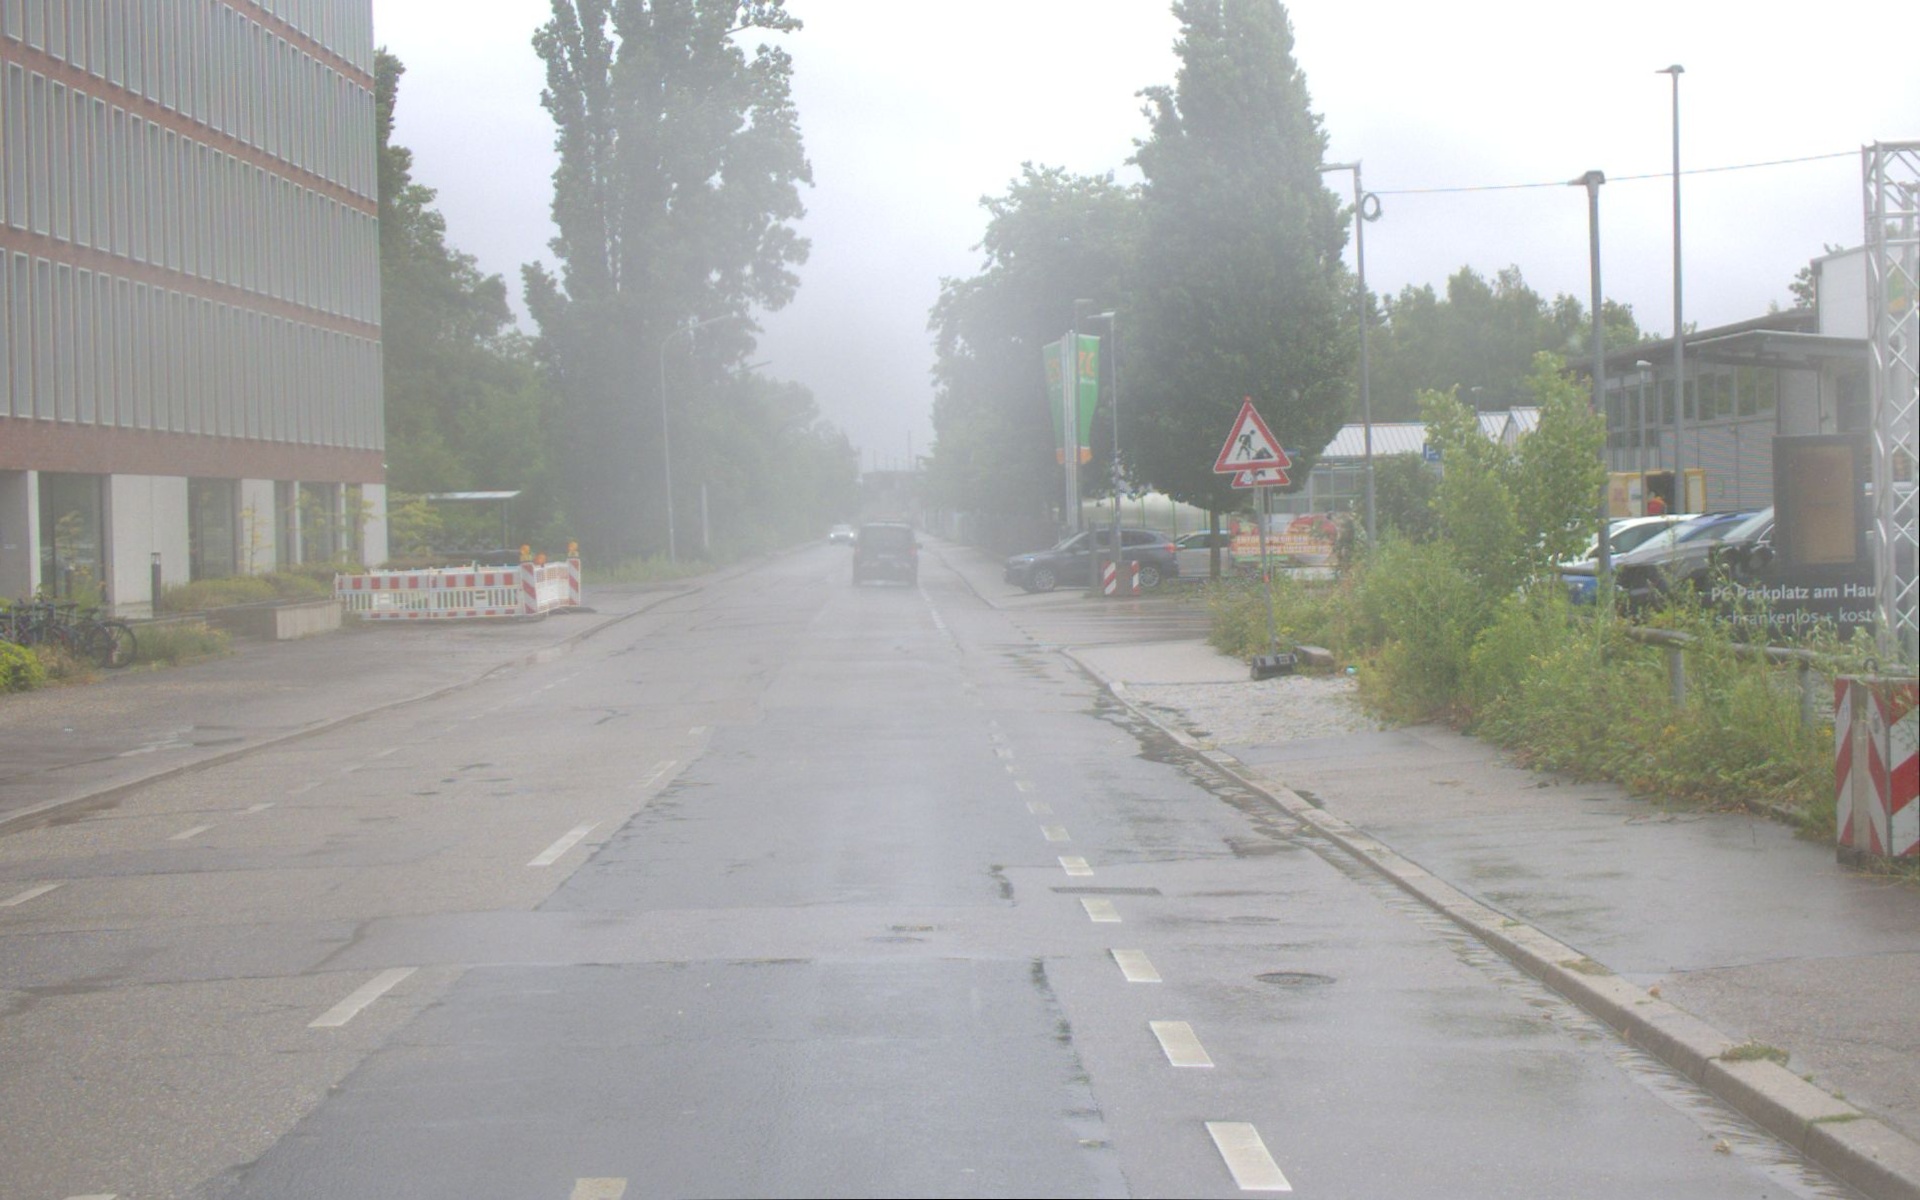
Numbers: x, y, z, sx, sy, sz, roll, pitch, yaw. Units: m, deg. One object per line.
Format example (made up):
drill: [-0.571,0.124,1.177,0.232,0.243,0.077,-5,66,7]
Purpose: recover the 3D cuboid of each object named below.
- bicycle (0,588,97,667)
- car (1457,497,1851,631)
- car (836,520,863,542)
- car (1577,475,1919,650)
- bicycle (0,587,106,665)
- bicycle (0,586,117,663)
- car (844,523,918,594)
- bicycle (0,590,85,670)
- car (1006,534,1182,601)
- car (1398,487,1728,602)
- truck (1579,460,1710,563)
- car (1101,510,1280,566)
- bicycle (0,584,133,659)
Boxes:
bicycle: [-13.073,0.381,48.082,1.859,1.073,0.544,0,1,-2]
car: [8.191,-0.416,40.820,4.295,1.511,1.819,-1,0,0]
car: [-8.126,-5.104,253.080,1.733,1.445,4.381,-4,2,0]
car: [9.241,-0.425,37.467,4.681,1.729,2.128,-2,0,4]
bicycle: [-13.079,0.361,48.629,1.859,1.073,0.544,0,1,-2]
bicycle: [-13.131,0.349,49.517,1.859,1.073,0.544,0,1,-2]
car: [-2.237,-1.189,96.880,1.993,1.904,4.201,-2,1,-2]
bicycle: [-13.037,0.405,47.089,1.948,1.073,0.620,0,1,-2]
car: [3.362,-0.818,86.853,4.135,1.563,1.766,-2,1,-9]
car: [8.248,-0.752,47.266,4.181,1.504,1.890,-1,0,0]
truck: [18.815,-2.462,94.883,2.301,2.650,7.416,-3,2,2]
car: [6.286,-1.718,94.120,4.702,1.457,1.891,-1,2,-2]
bicycle: [-13.112,0.319,50.373,1.859,1.073,0.544,0,1,-2]
